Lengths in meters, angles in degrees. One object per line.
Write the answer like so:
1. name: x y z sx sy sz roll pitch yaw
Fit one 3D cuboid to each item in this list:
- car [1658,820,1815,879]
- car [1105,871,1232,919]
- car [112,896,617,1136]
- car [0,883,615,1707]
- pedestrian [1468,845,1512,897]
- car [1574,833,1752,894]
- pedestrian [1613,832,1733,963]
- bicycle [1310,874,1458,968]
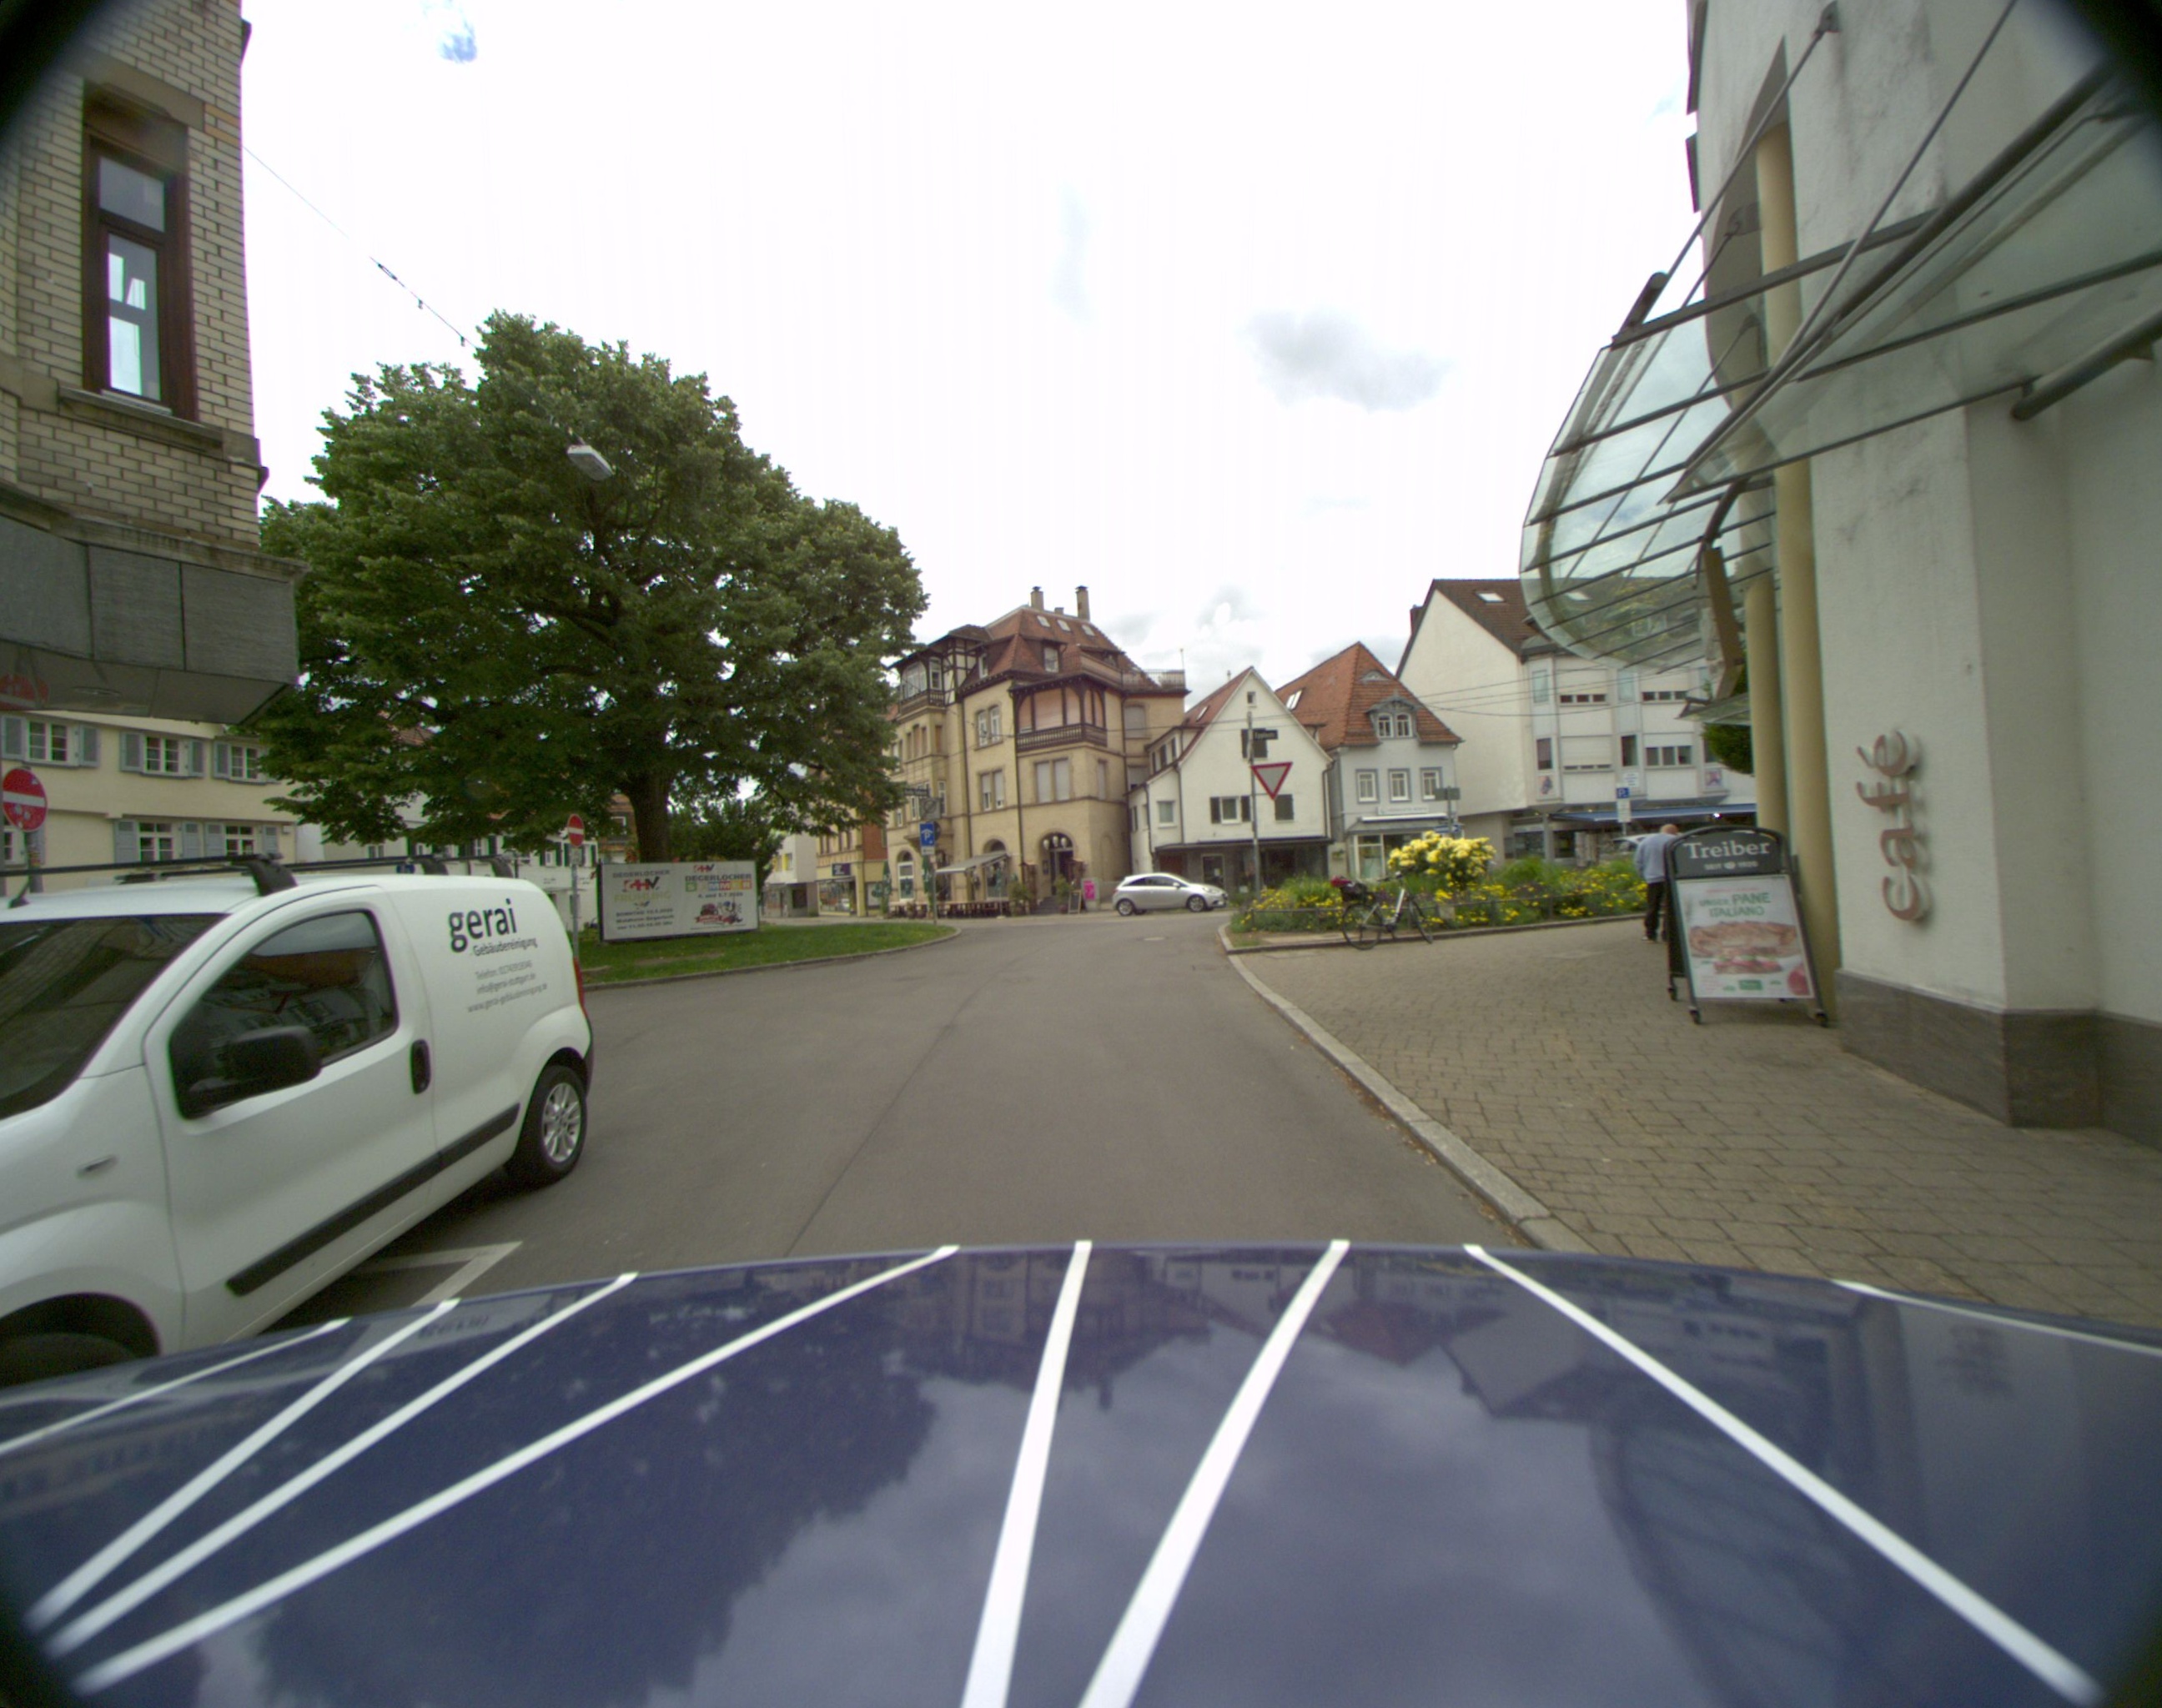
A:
1. car: 24.005 -0.123 27.935 3.998 1.843 2.000 -3 -2 -3
2. car: 3.065 1.450 26.642 3.991 1.347 1.759 -5 0 24
3. car: -6.770 1.496 7.235 3.989 1.694 1.731 -7 0 19
4. car: -3.479 1.075 2.469 1.832 1.781 4.215 -4 -1 -10
5. pedestrian: 16.656 0.713 30.976 1.013 2.001 1.106 -4 -2 -6
6. car: 18.079 0.326 23.765 3.997 1.617 1.897 -3 -2 1
7. pedestrian: 7.334 0.533 9.437 0.703 1.516 0.866 -3 -2 -27
8. bicycle: 4.646 0.998 11.675 1.981 1.232 0.743 -4 -1 -15
